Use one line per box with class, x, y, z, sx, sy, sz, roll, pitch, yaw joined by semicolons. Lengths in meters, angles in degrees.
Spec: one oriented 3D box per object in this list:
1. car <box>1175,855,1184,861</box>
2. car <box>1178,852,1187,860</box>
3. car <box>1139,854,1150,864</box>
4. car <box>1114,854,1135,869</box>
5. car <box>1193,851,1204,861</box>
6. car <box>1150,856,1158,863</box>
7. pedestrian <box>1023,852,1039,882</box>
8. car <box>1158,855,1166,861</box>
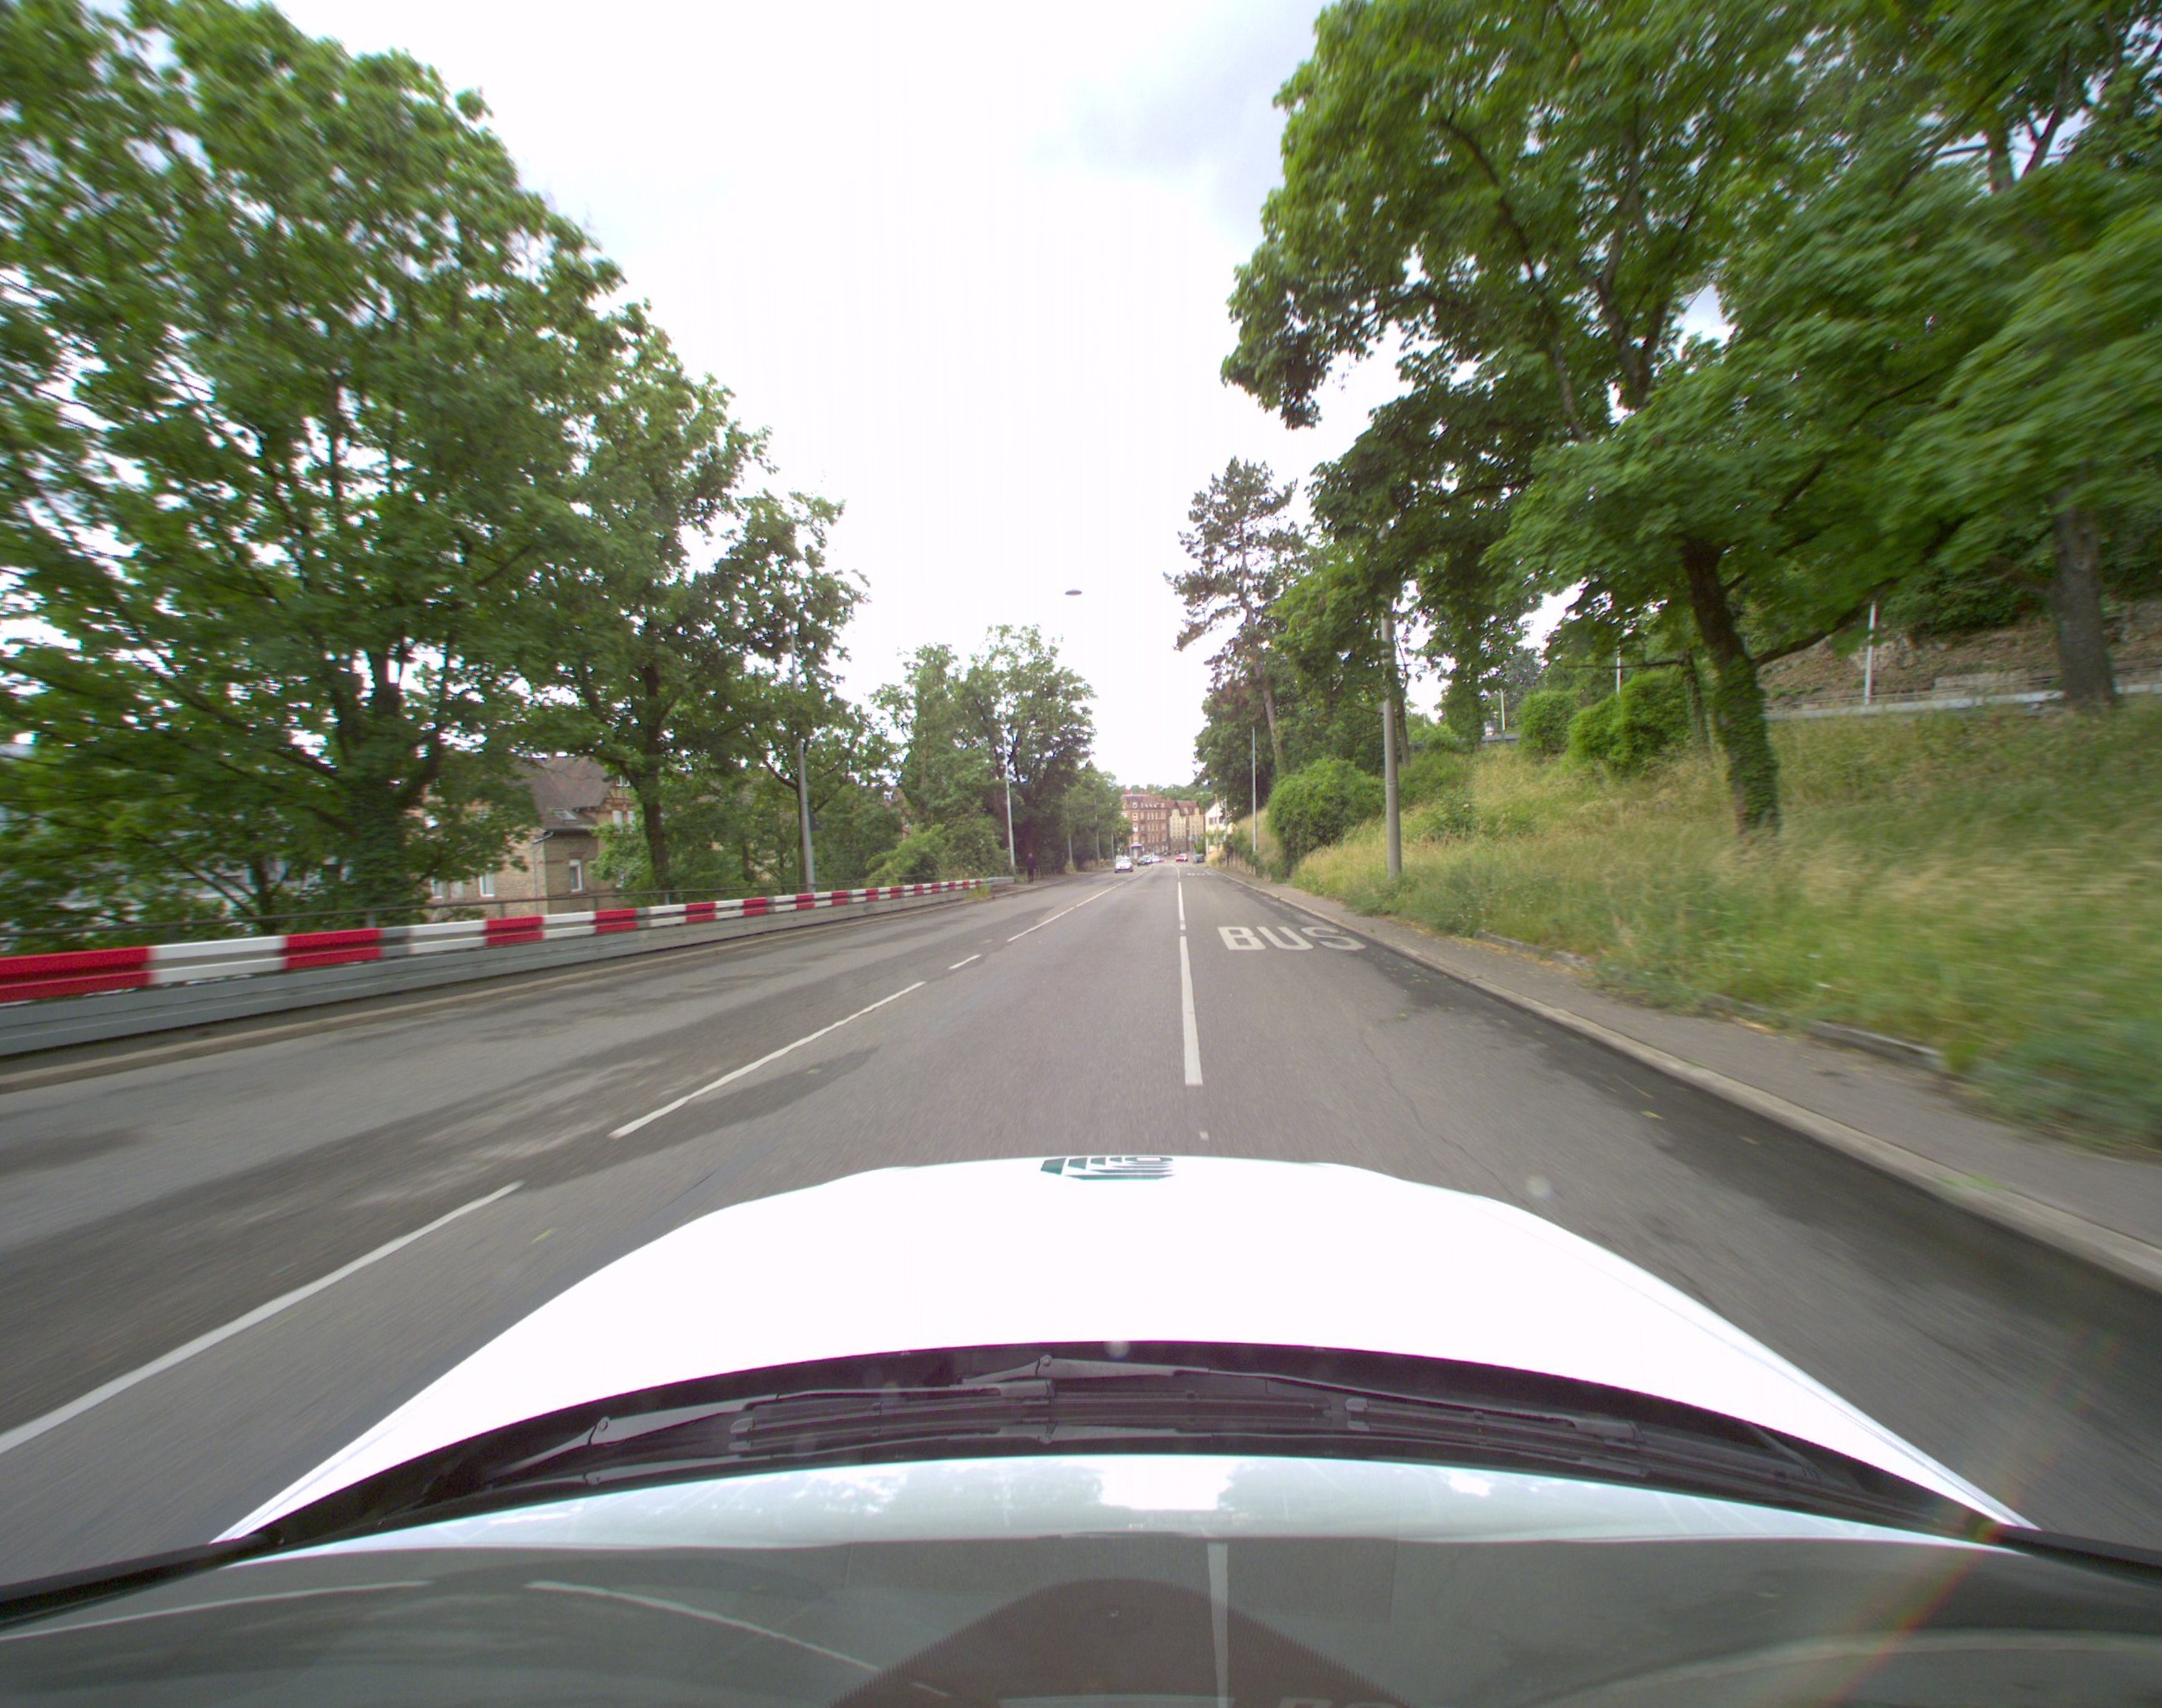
car;24.381;1.013;201.551;1.805;1.430;4.012;-1;0;11
car;26.050;0.521;208.932;1.897;1.884;4.012;-1;-1;11
car;10.152;0.807;130.042;1.660;1.447;3.695;-3;-1;7
car;4.454;0.737;82.795;1.785;1.427;4.151;-1;0;7
car;20.493;0.393;142.033;1.673;1.451;4.007;-6;-1;6
car;16.522;1.200;184.309;1.775;1.574;4.288;-3;-1;6
pedestrian;-3.016;0.763;49.333;0.785;1.774;1.210;1;0;4
car;20.305;1.053;204.132;1.775;1.459;4.436;-3;-1;6
